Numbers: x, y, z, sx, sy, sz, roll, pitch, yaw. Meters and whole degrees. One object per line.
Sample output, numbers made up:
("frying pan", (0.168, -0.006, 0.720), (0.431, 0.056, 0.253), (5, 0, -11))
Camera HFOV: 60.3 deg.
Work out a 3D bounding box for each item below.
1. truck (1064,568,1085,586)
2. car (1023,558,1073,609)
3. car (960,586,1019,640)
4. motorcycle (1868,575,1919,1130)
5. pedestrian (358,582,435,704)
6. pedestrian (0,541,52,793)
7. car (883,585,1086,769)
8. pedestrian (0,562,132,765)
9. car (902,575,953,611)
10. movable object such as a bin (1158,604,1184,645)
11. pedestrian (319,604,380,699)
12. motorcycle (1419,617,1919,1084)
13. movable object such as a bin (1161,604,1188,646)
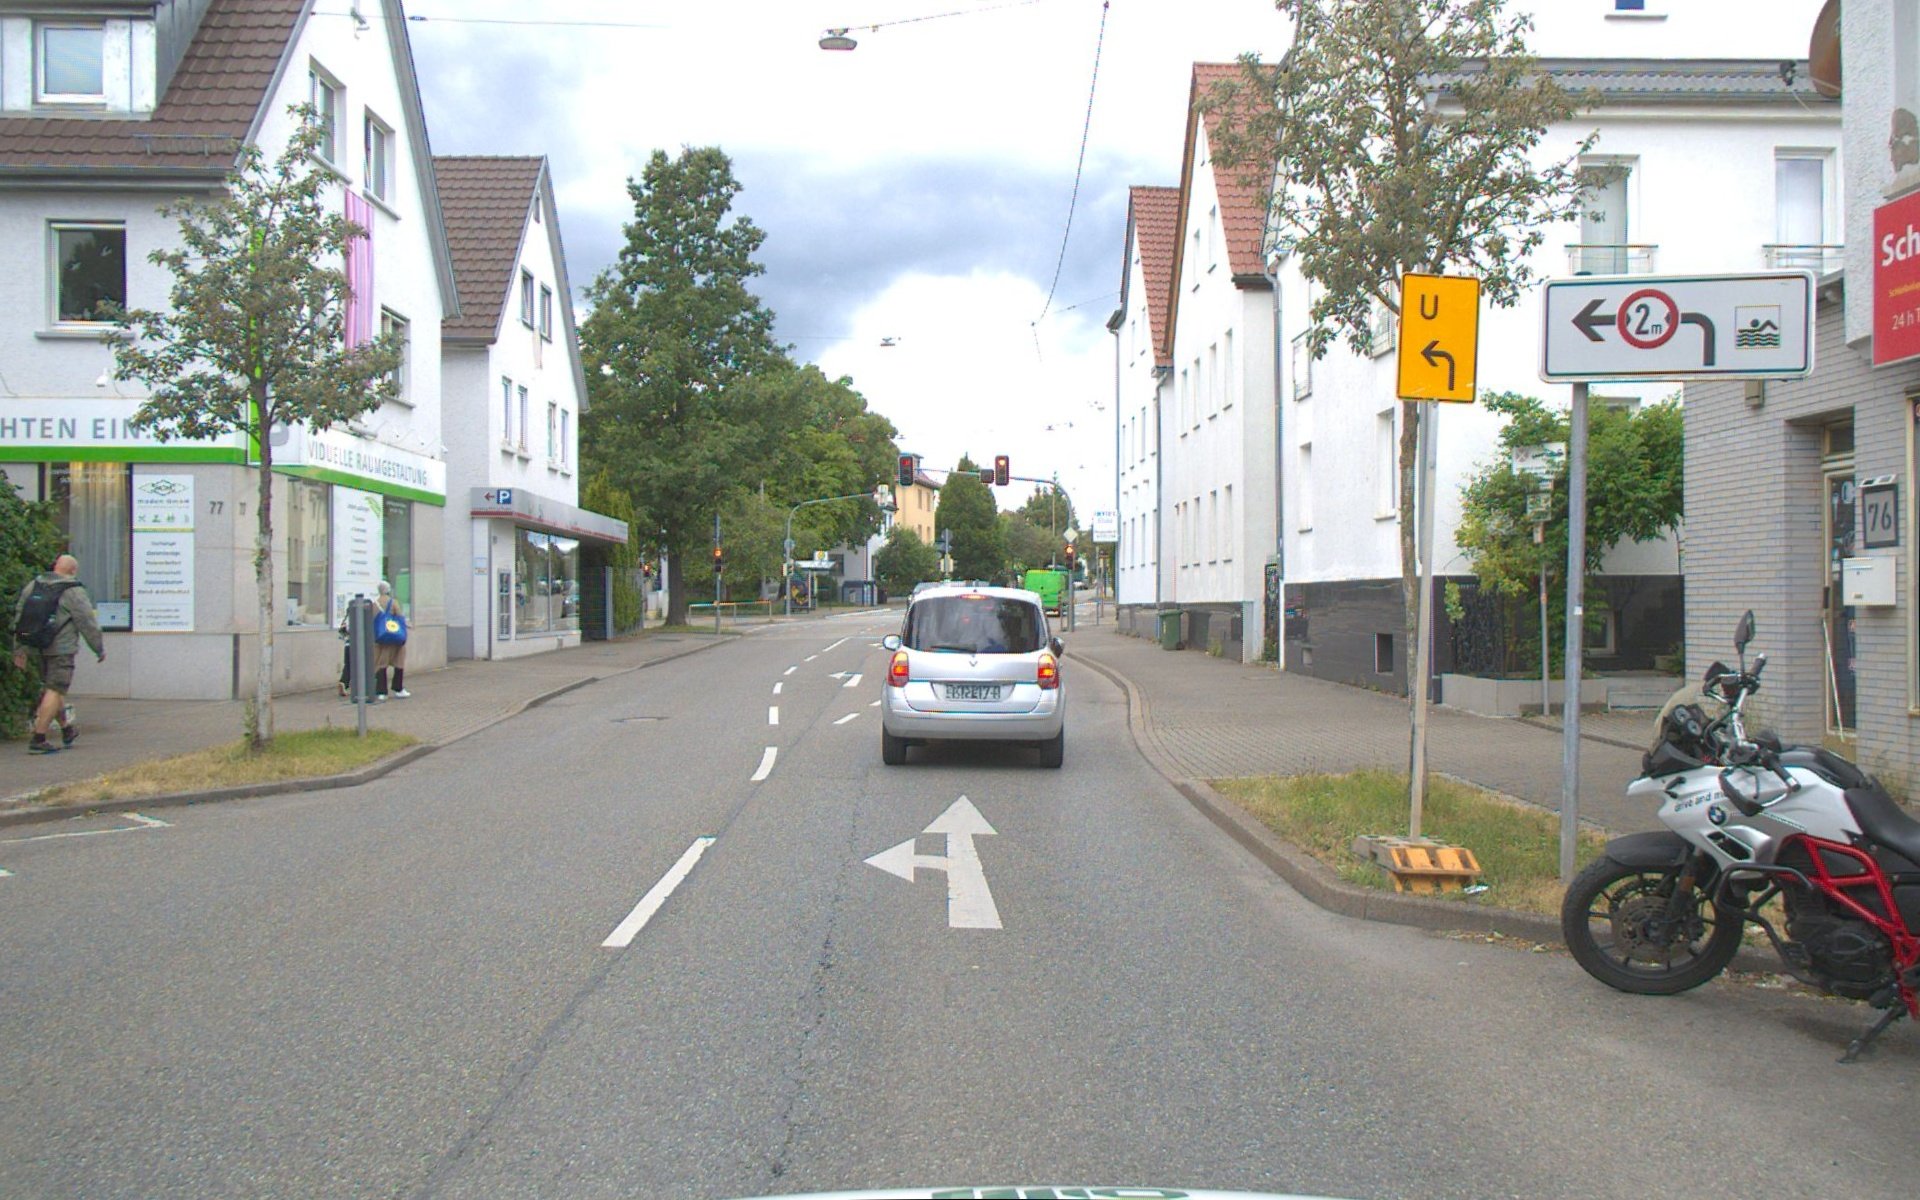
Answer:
("truck", (14.113, -2.803, 203.232), (2.056, 2.049, 5.752), (0, 0, 10))
("car", (4.593, -0.847, 85.464), (2.015, 2.556, 5.600), (0, 0, 9))
("car", (0.862, 0.366, 50.216), (1.719, 1.557, 3.797), (0, 0, 0))
("motorcycle", (2.918, 0.710, 3.626), (0.656, 1.551, 2.599), (0, 0, 6))
("pedestrian", (-7.923, 0.596, 23.276), (0.736, 1.645, 0.793), (3, 0, -1))
("pedestrian", (-7.509, 0.482, 12.399), (0.736, 1.881, 1.019), (3, 0, 0))
("car", (0.210, 0.647, 16.087), (1.719, 1.557, 4.000), (0, 0, 0))
("pedestrian", (-8.247, 0.559, 15.165), (0.736, 1.774, 1.019), (2, 0, 0))
("car", (-1.761, -0.396, 90.969), (1.885, 1.804, 4.004), (-4, 0, 10))
("movable object such as a bin", (5.040, 0.586, 39.584), (0.529, 0.957, 0.487), (-3, 0, 0))
("pedestrian", (-8.636, 0.719, 23.422), (0.587, 1.302, 0.655), (1, 0, -1))
("motorcycle", (2.800, 0.783, 5.944), (0.768, 1.405, 2.213), (0, 0, -37))
("movable object such as a bin", (5.061, 0.588, 39.048), (0.529, 0.957, 0.487), (-3, 0, 0))
